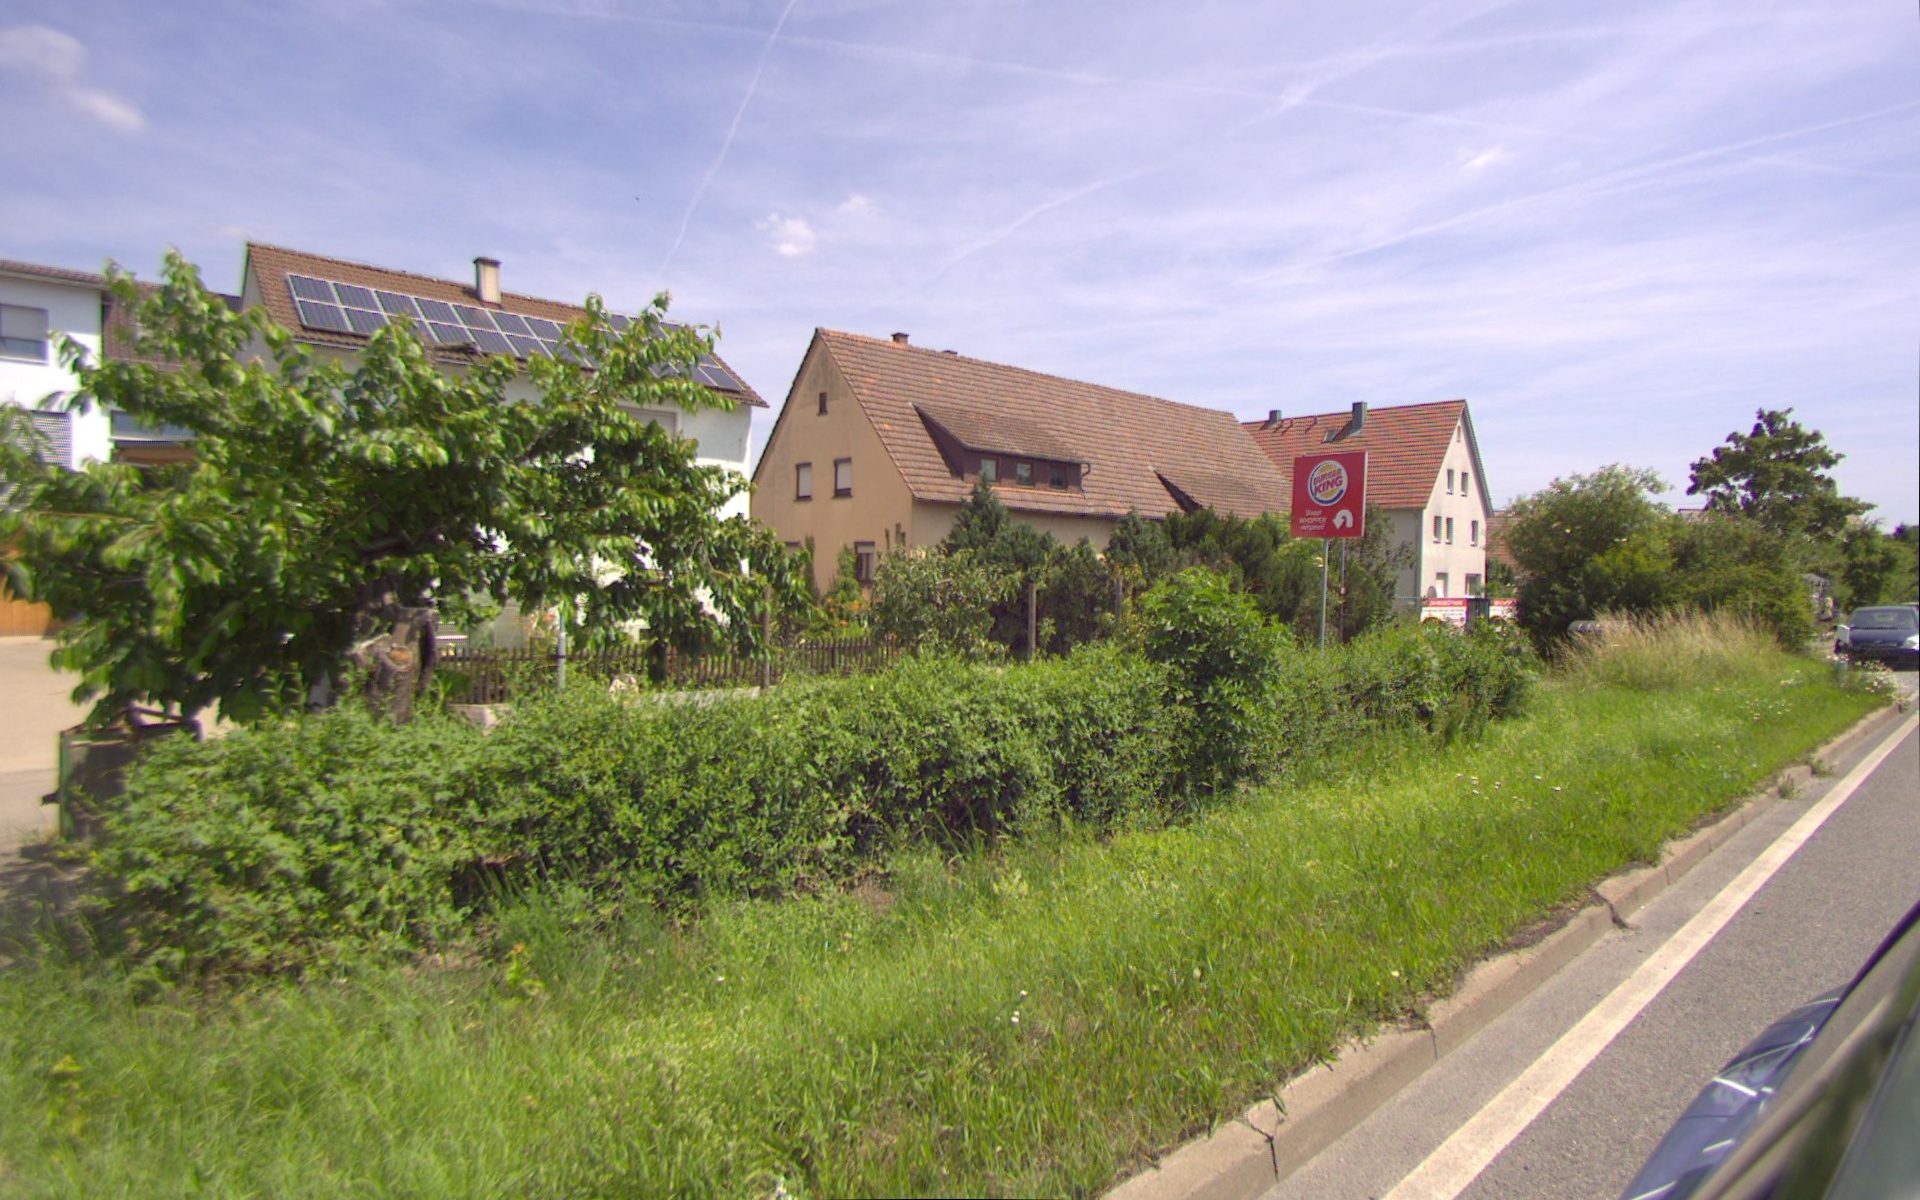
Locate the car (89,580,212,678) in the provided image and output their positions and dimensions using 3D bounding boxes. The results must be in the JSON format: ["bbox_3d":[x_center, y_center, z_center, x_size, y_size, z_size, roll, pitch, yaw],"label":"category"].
[{"bbox_3d":[-16.552,0.495,20.781,1.810,1.714,3.959,-1,2,-38],"label":"car"}]

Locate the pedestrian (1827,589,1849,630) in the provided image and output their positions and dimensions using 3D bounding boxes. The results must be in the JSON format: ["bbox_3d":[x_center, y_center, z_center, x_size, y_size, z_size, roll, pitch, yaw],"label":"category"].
[{"bbox_3d":[34.246,0.361,39.481,0.517,1.568,0.557,0,1,30],"label":"pedestrian"}]

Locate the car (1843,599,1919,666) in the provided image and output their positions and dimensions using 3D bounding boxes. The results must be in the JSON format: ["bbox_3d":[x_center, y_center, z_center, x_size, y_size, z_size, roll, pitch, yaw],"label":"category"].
[{"bbox_3d":[22.763,0.752,24.545,3.492,1.504,1.633,0,-2,-43],"label":"car"}]
